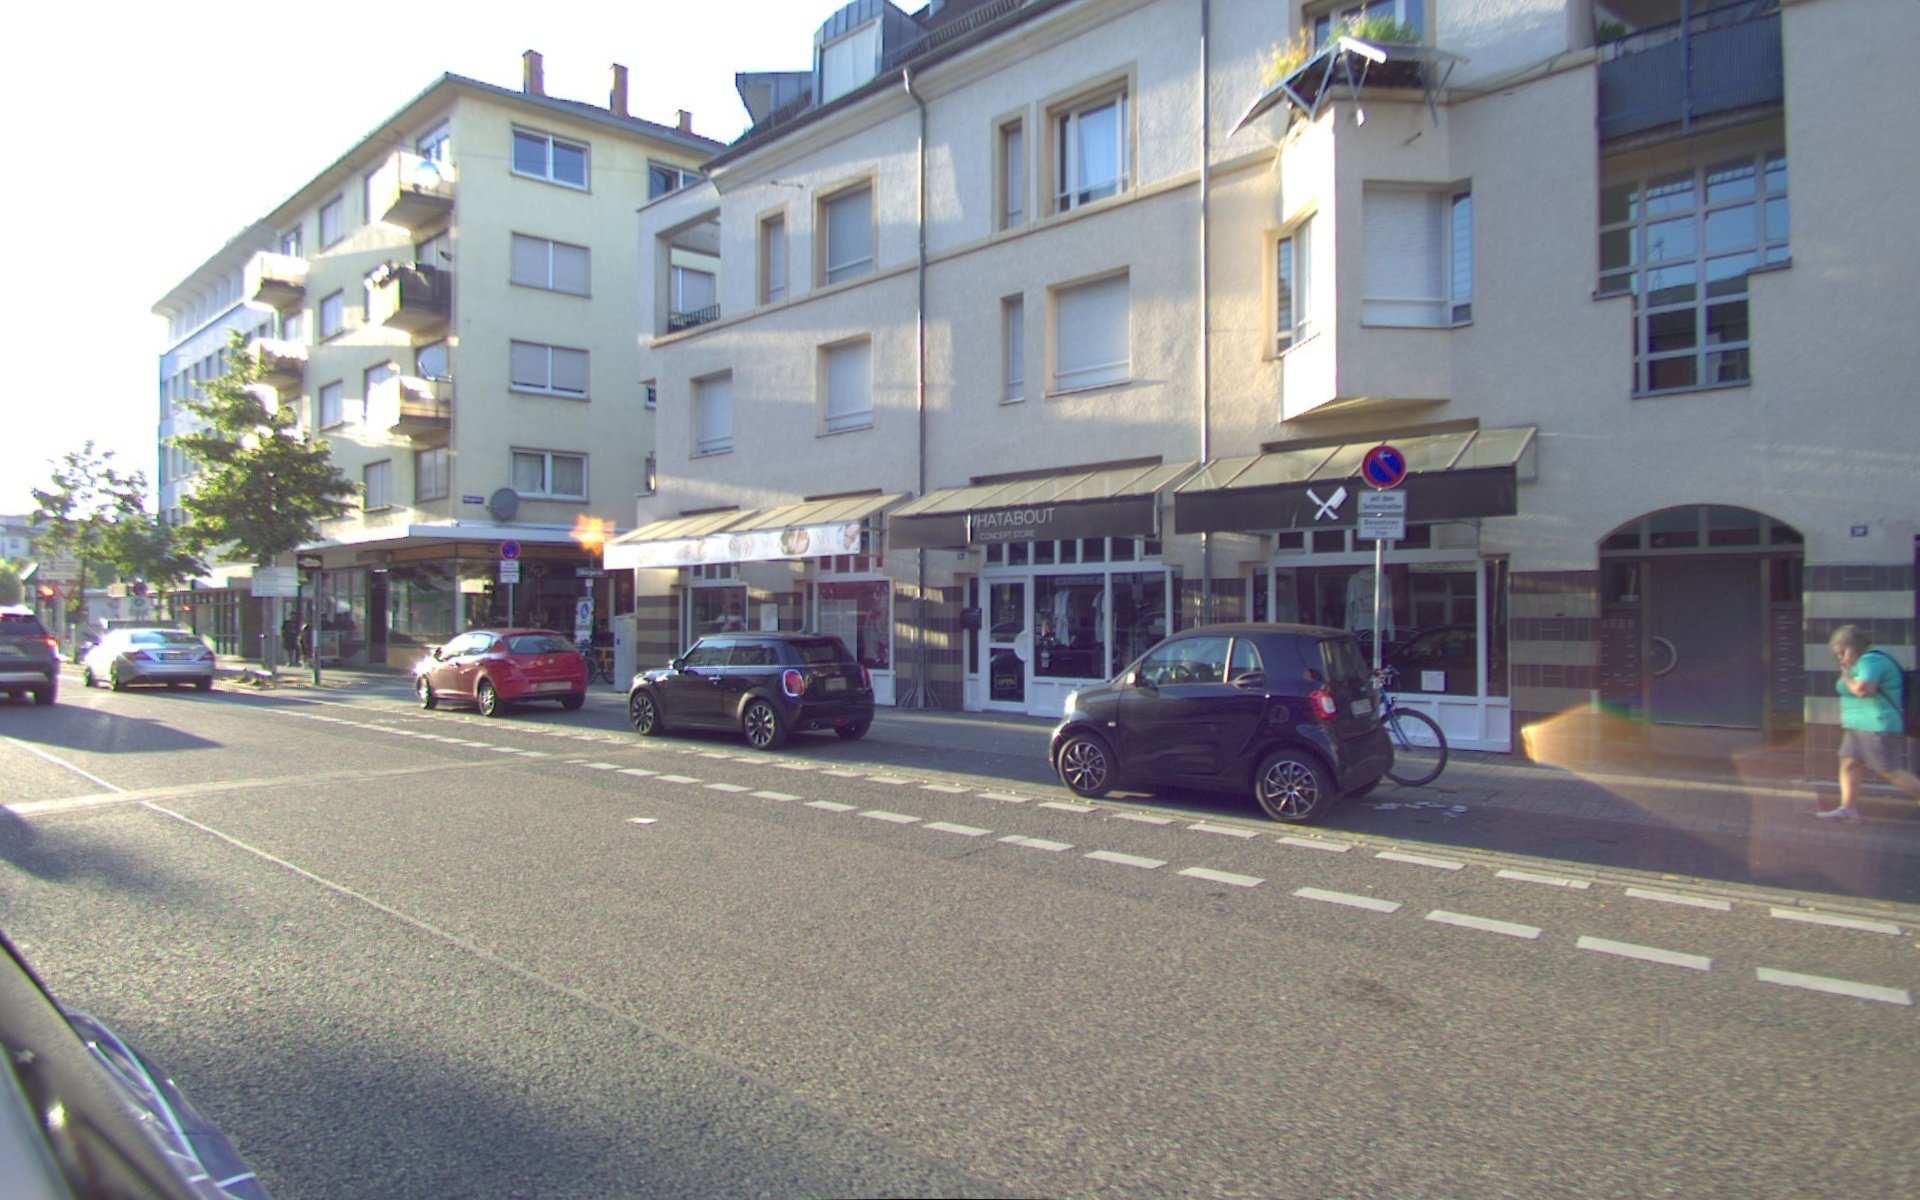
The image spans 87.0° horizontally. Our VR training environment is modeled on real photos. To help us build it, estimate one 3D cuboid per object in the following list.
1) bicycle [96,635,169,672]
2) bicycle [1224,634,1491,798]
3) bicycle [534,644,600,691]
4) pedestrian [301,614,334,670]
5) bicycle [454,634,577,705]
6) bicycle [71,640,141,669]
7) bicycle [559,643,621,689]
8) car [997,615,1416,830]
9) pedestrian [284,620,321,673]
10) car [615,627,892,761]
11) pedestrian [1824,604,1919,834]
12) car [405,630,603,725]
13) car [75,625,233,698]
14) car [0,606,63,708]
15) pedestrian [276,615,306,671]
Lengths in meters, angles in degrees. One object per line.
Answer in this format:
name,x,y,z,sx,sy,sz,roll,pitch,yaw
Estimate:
bicycle,-29.886,1.925,36.585,0.491,1.228,1.989,-1,0,40
bicycle,3.821,1.055,9.897,2.356,1.385,0.604,-1,0,40
bicycle,-9.191,1.561,23.644,2.013,0.999,0.485,-1,0,38
pedestrian,-21.478,1.408,33.835,0.813,1.833,0.733,-3,-3,42
bicycle,-9.159,1.378,20.781,3.123,1.310,0.949,-1,0,38
bicycle,-32.671,2.054,38.726,0.490,0.999,1.991,-1,0,36
bicycle,-8.799,1.554,24.027,2.015,0.999,0.484,-1,0,41
car,2.136,0.925,8.999,3.184,1.547,1.775,-1,-2,37
pedestrian,-21.033,1.474,32.378,0.758,1.689,0.744,0,-1,-8
car,-2.831,1.126,13.506,3.722,1.464,1.694,-1,0,40
pedestrian,7.135,0.861,7.578,0.950,1.654,0.710,-1,0,37
car,-8.072,1.270,17.777,3.880,1.413,1.644,-1,0,40
car,-18.862,1.392,23.611,4.506,1.523,1.973,-1,-4,40
car,-17.512,0.931,17.811,4.736,1.657,1.920,-1,-2,41
pedestrian,-22.607,1.434,34.212,0.758,1.862,0.744,1,-3,-40
